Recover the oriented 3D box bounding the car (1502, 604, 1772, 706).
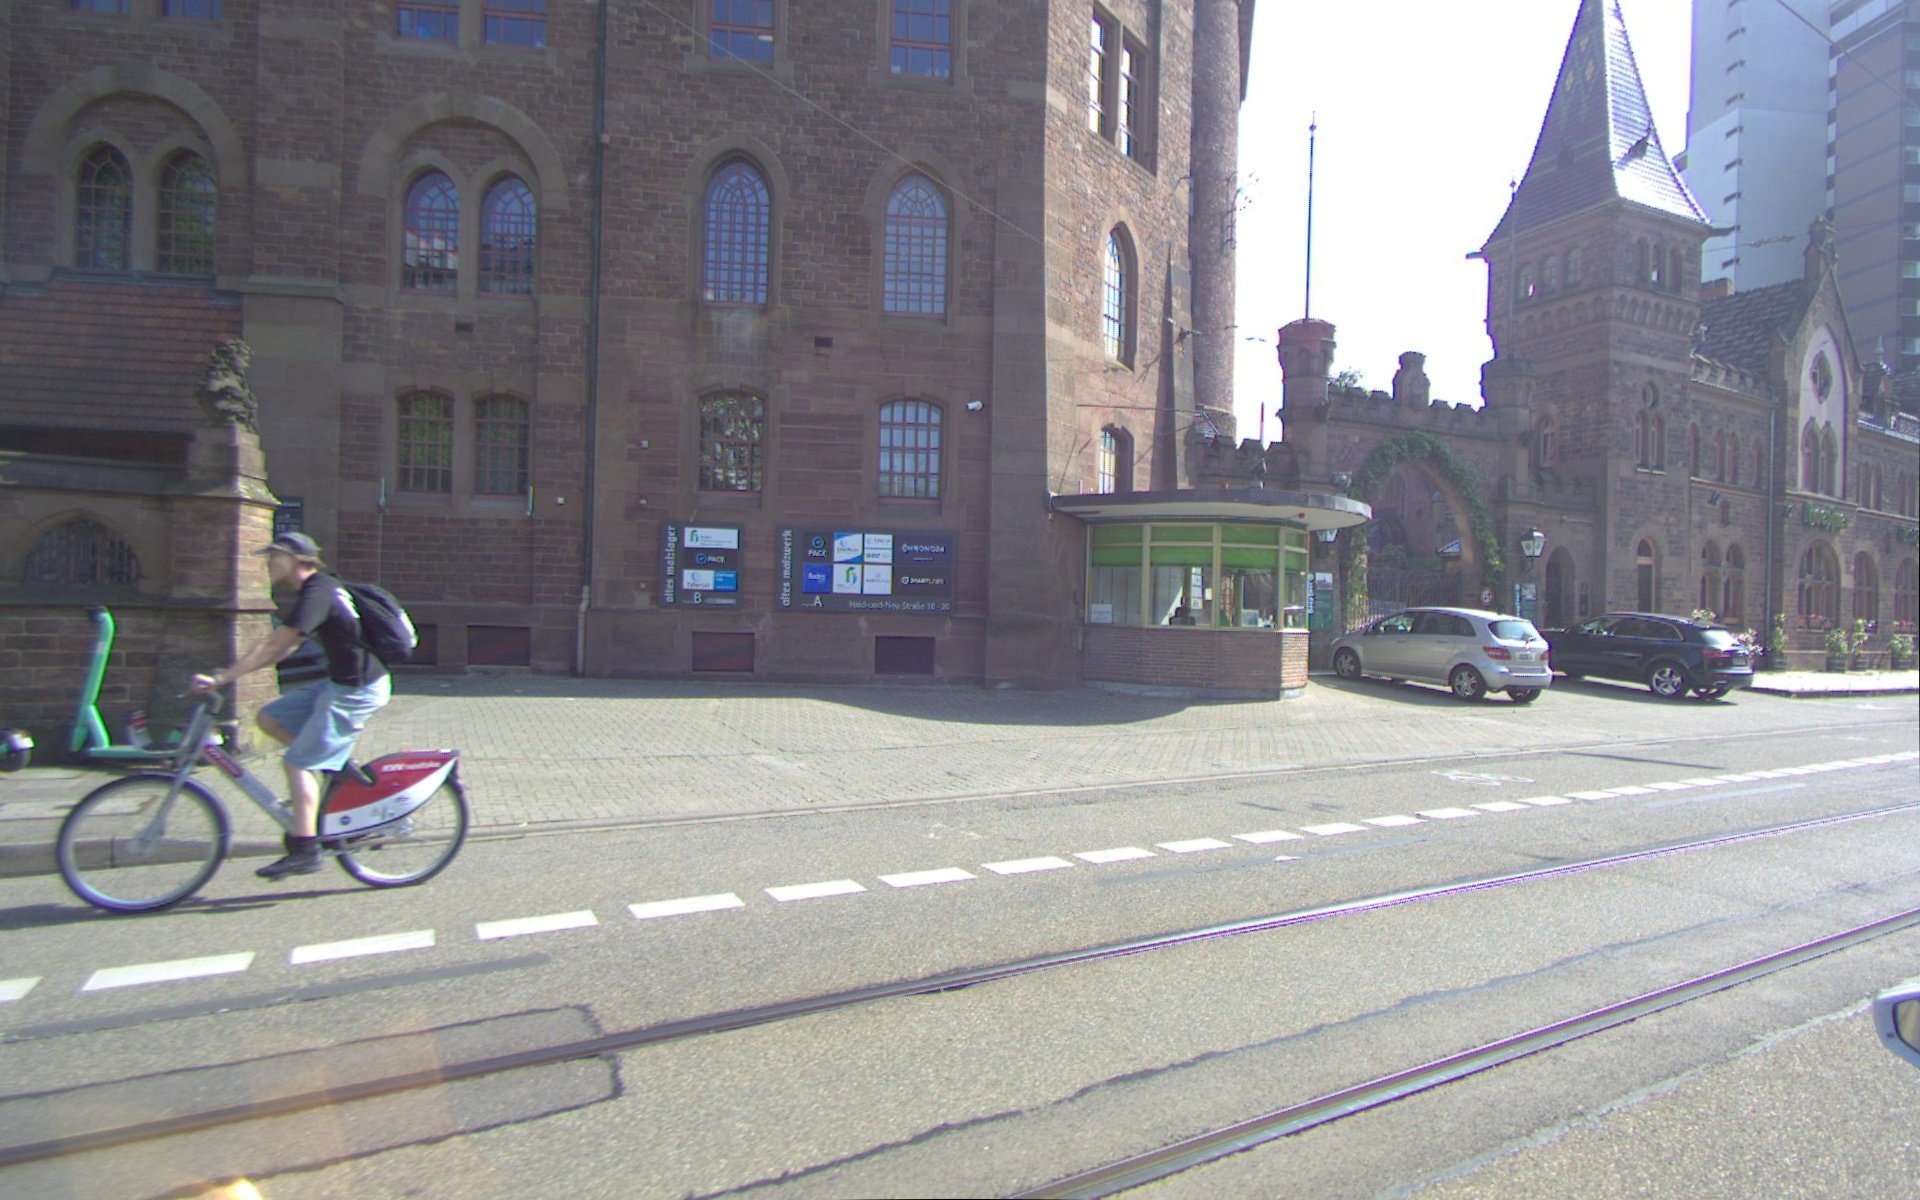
[{"bbox_3d":[14.464,1.097,21.736,1.935,1.668,4.372,2,3,-32],"label":"car"}]

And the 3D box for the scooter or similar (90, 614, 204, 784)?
[{"bbox_3d":[-6.076,0.717,7.506,0.801,1.163,0.284,4,1,25],"label":"scooter or similar"}]

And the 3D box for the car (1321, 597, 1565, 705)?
[{"bbox_3d":[9.165,0.897,19.396,1.799,1.617,3.884,2,3,-27],"label":"car"}]

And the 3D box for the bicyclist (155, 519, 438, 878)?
[{"bbox_3d":[-3.293,0.463,5.078,1.075,1.601,0.693,2,-2,-32],"label":"bicyclist"}]

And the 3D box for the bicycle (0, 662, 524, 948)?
[{"bbox_3d":[-3.338,0.908,5.038,2.015,1.173,0.693,2,-2,-32],"label":"bicycle"}]
